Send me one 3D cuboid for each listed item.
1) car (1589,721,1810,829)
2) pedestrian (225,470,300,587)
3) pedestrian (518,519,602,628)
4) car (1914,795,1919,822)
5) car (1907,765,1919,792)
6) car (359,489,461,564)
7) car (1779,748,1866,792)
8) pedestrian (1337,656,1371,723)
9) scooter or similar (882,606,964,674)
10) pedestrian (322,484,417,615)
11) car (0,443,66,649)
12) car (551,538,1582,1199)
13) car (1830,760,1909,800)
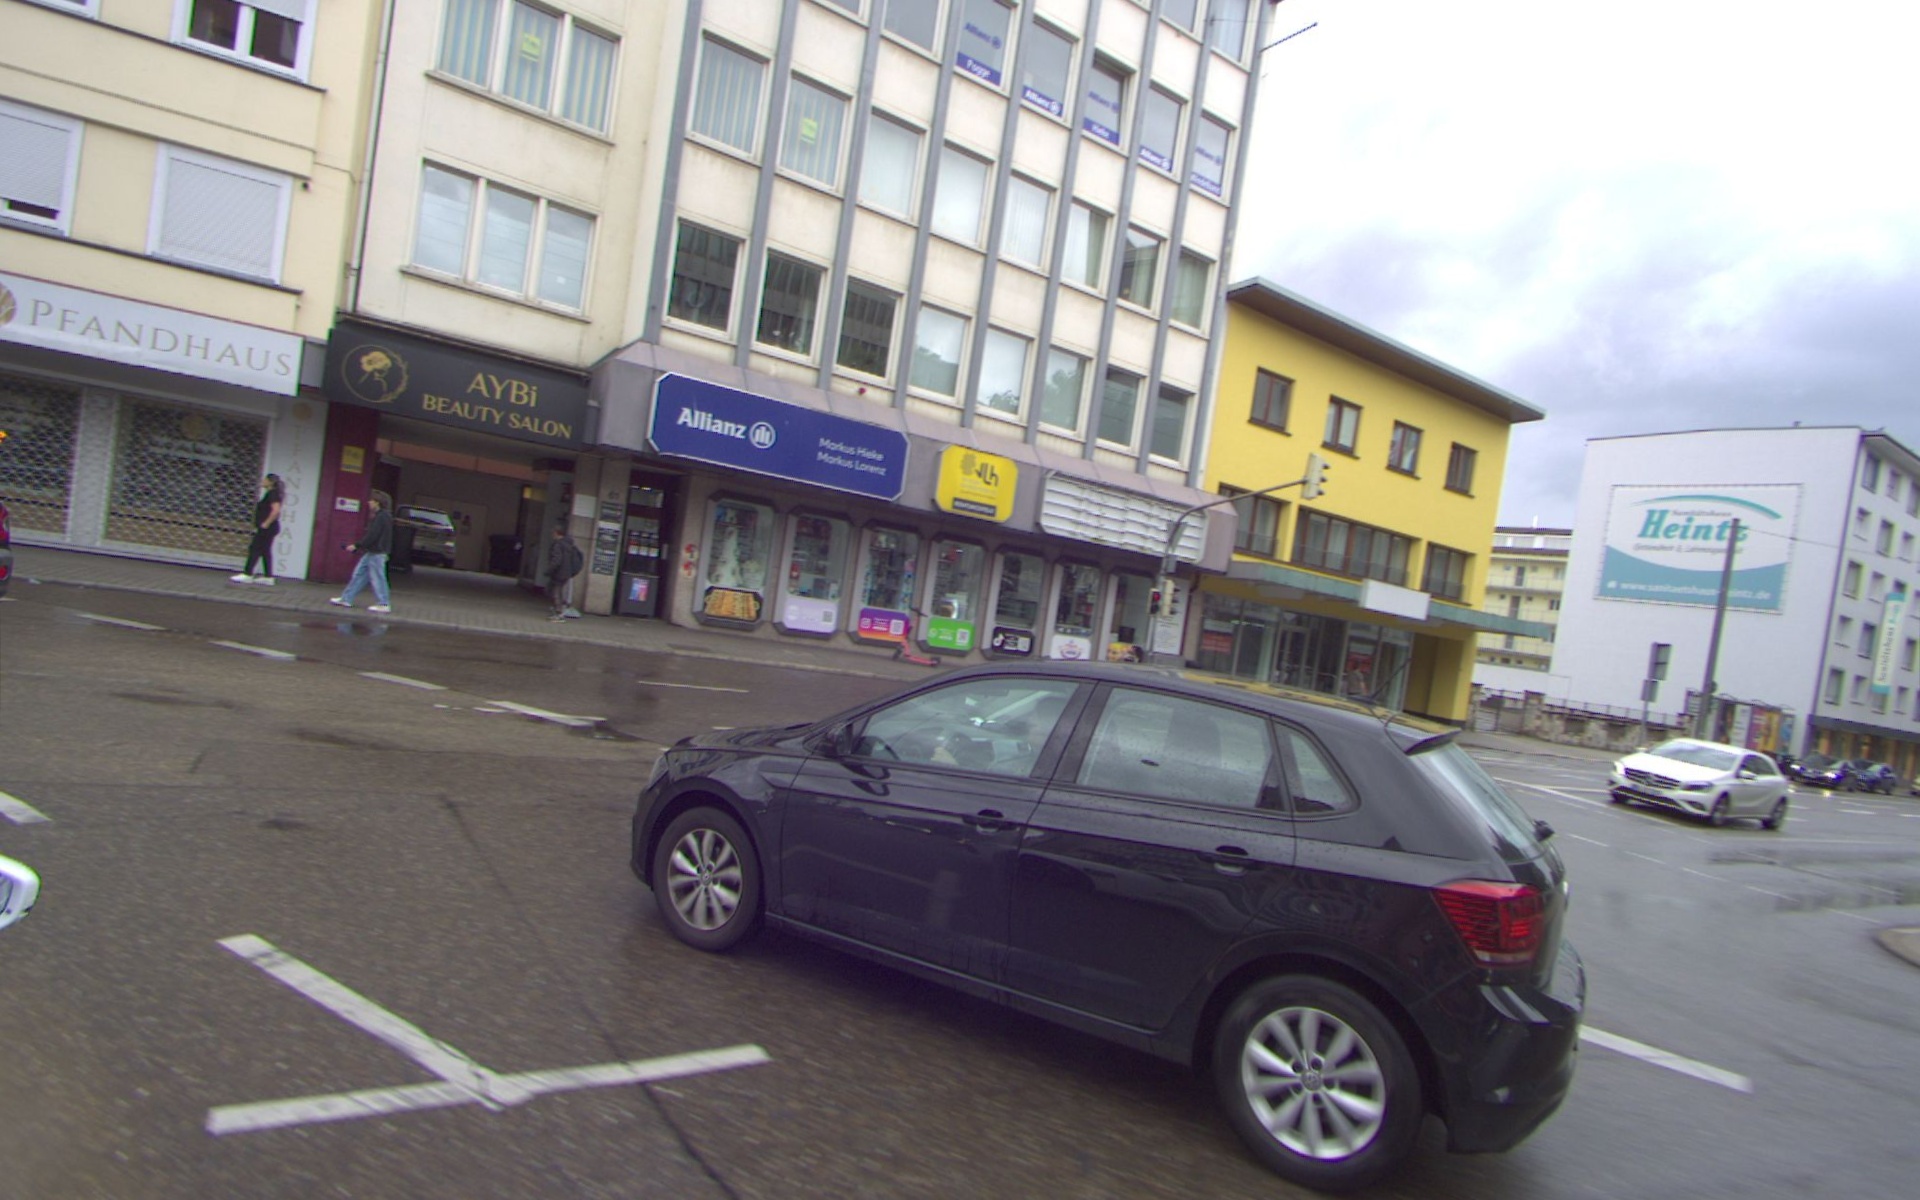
[{"bbox_3d":[14.273,3.388,19.382,4.159,1.431,1.812,9,3,-31],"label":"car"},{"bbox_3d":[-11.126,-1.137,16.046,0.558,1.712,0.751,14,6,44],"label":"pedestrian"},{"bbox_3d":[-7.115,-0.467,17.893,1.024,1.712,0.821,7,5,-37],"label":"pedestrian"},{"bbox_3d":[30.690,6.246,30.127,4.158,1.440,1.813,9,3,-30],"label":"car"},{"bbox_3d":[56.247,10.474,57.624,4.162,1.431,1.811,9,3,-33],"label":"car"},{"bbox_3d":[-15.036,-1.961,27.406,1.787,1.690,3.961,7,-1,-37],"label":"car"},{"bbox_3d":[40.150,7.937,46.795,4.162,1.431,1.811,9,3,-33],"label":"car"},{"bbox_3d":[11.718,2.670,29.914,0.667,1.845,0.892,6,-5,28],"label":"pedestrian"},{"bbox_3d":[-0.814,0.887,22.254,1.502,1.225,0.615,10,3,-30],"label":"scooter or similar"},{"bbox_3d":[-9.162,-0.783,15.599,1.024,1.824,0.821,7,6,-37],"label":"pedestrian"},{"bbox_3d":[-10.262,-0.774,8.278,4.420,1.715,1.905,8,0,10],"label":"car"},{"bbox_3d":[0.286,0.789,4.390,3.933,1.494,1.692,9,-1,32],"label":"car"},{"bbox_3d":[46.169,9.131,51.075,4.162,1.431,1.811,9,3,-33],"label":"car"}]
